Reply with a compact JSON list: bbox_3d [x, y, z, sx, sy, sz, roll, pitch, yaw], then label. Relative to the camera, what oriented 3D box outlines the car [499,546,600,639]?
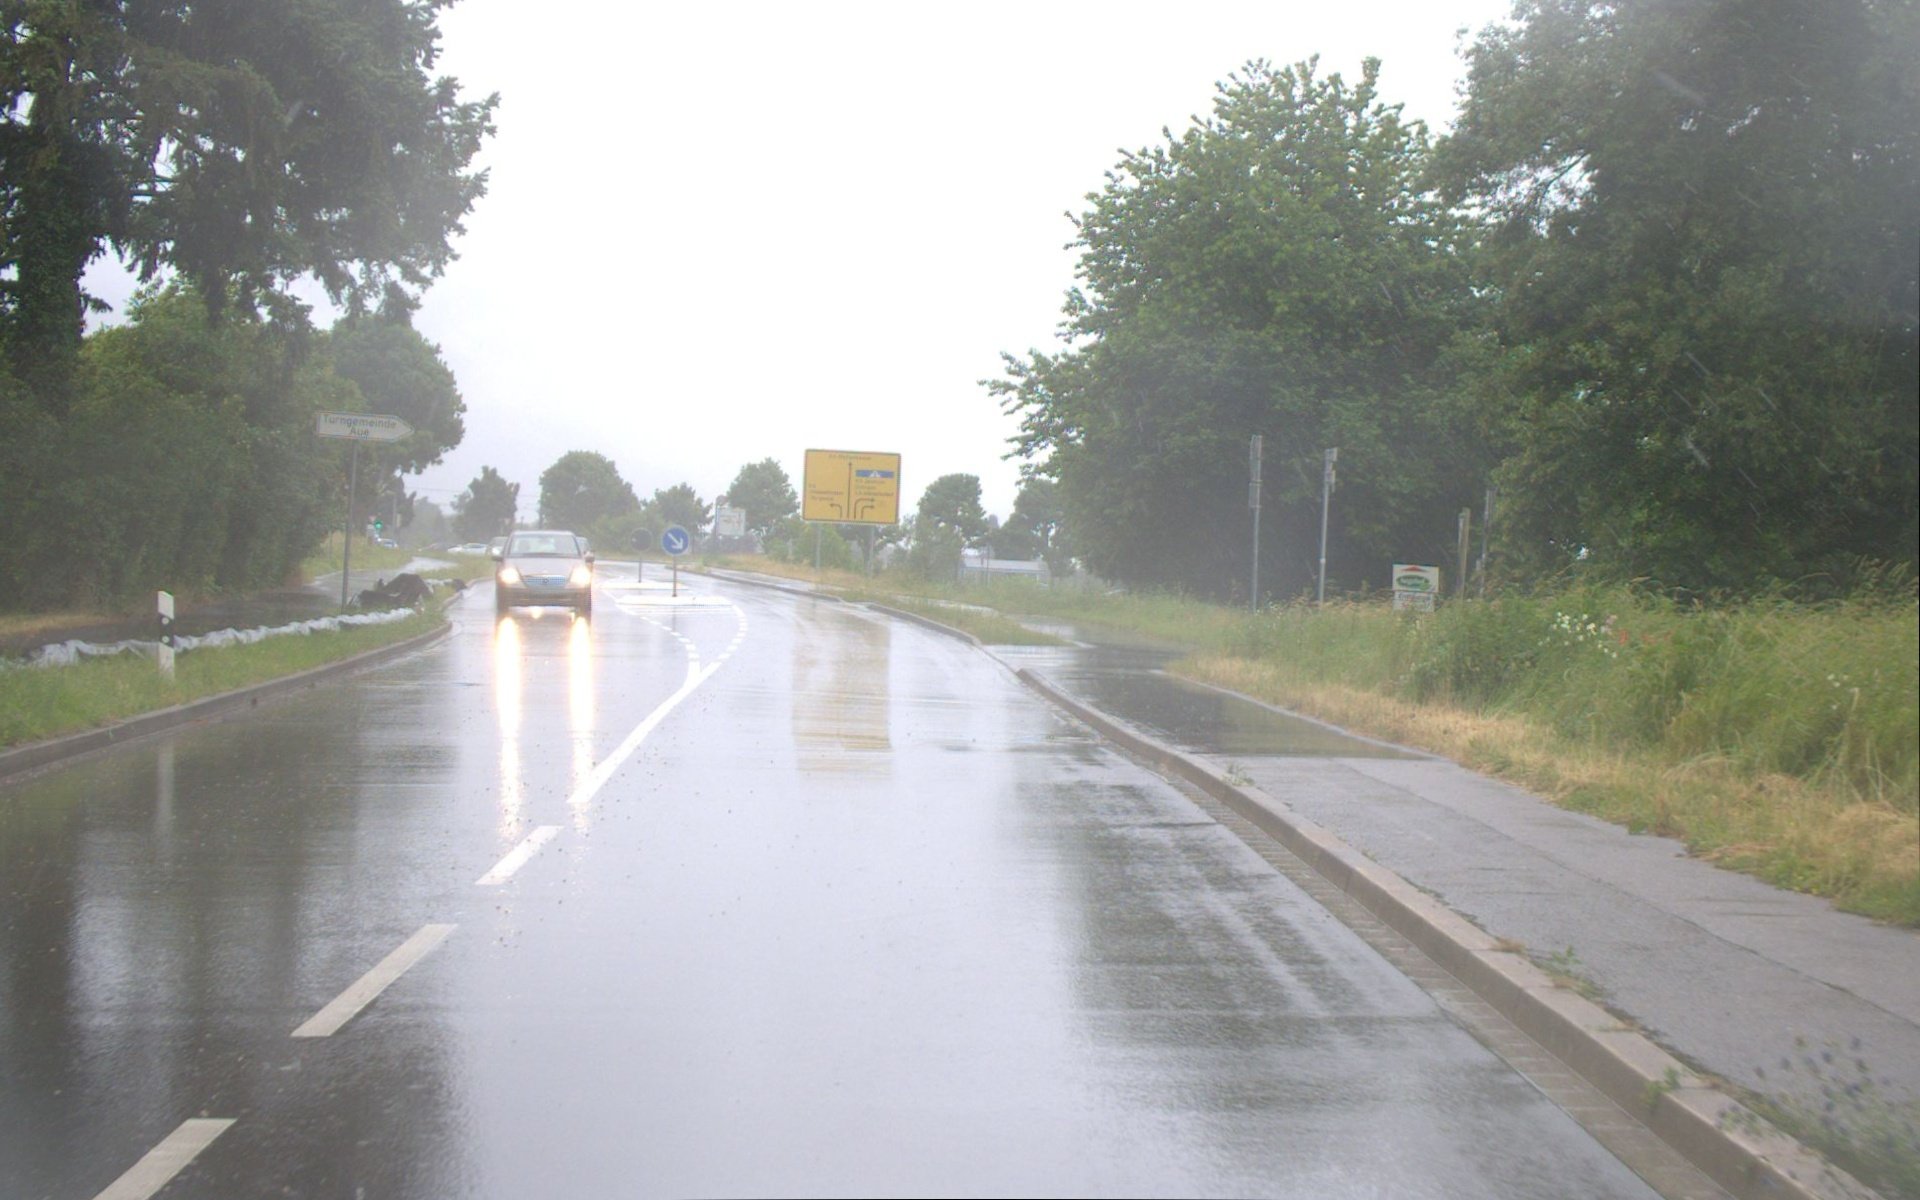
[{"bbox_3d":[-7.909,-0.112,66.027,1.760,1.547,4.000,3,-2,-8],"label":"car"}]
